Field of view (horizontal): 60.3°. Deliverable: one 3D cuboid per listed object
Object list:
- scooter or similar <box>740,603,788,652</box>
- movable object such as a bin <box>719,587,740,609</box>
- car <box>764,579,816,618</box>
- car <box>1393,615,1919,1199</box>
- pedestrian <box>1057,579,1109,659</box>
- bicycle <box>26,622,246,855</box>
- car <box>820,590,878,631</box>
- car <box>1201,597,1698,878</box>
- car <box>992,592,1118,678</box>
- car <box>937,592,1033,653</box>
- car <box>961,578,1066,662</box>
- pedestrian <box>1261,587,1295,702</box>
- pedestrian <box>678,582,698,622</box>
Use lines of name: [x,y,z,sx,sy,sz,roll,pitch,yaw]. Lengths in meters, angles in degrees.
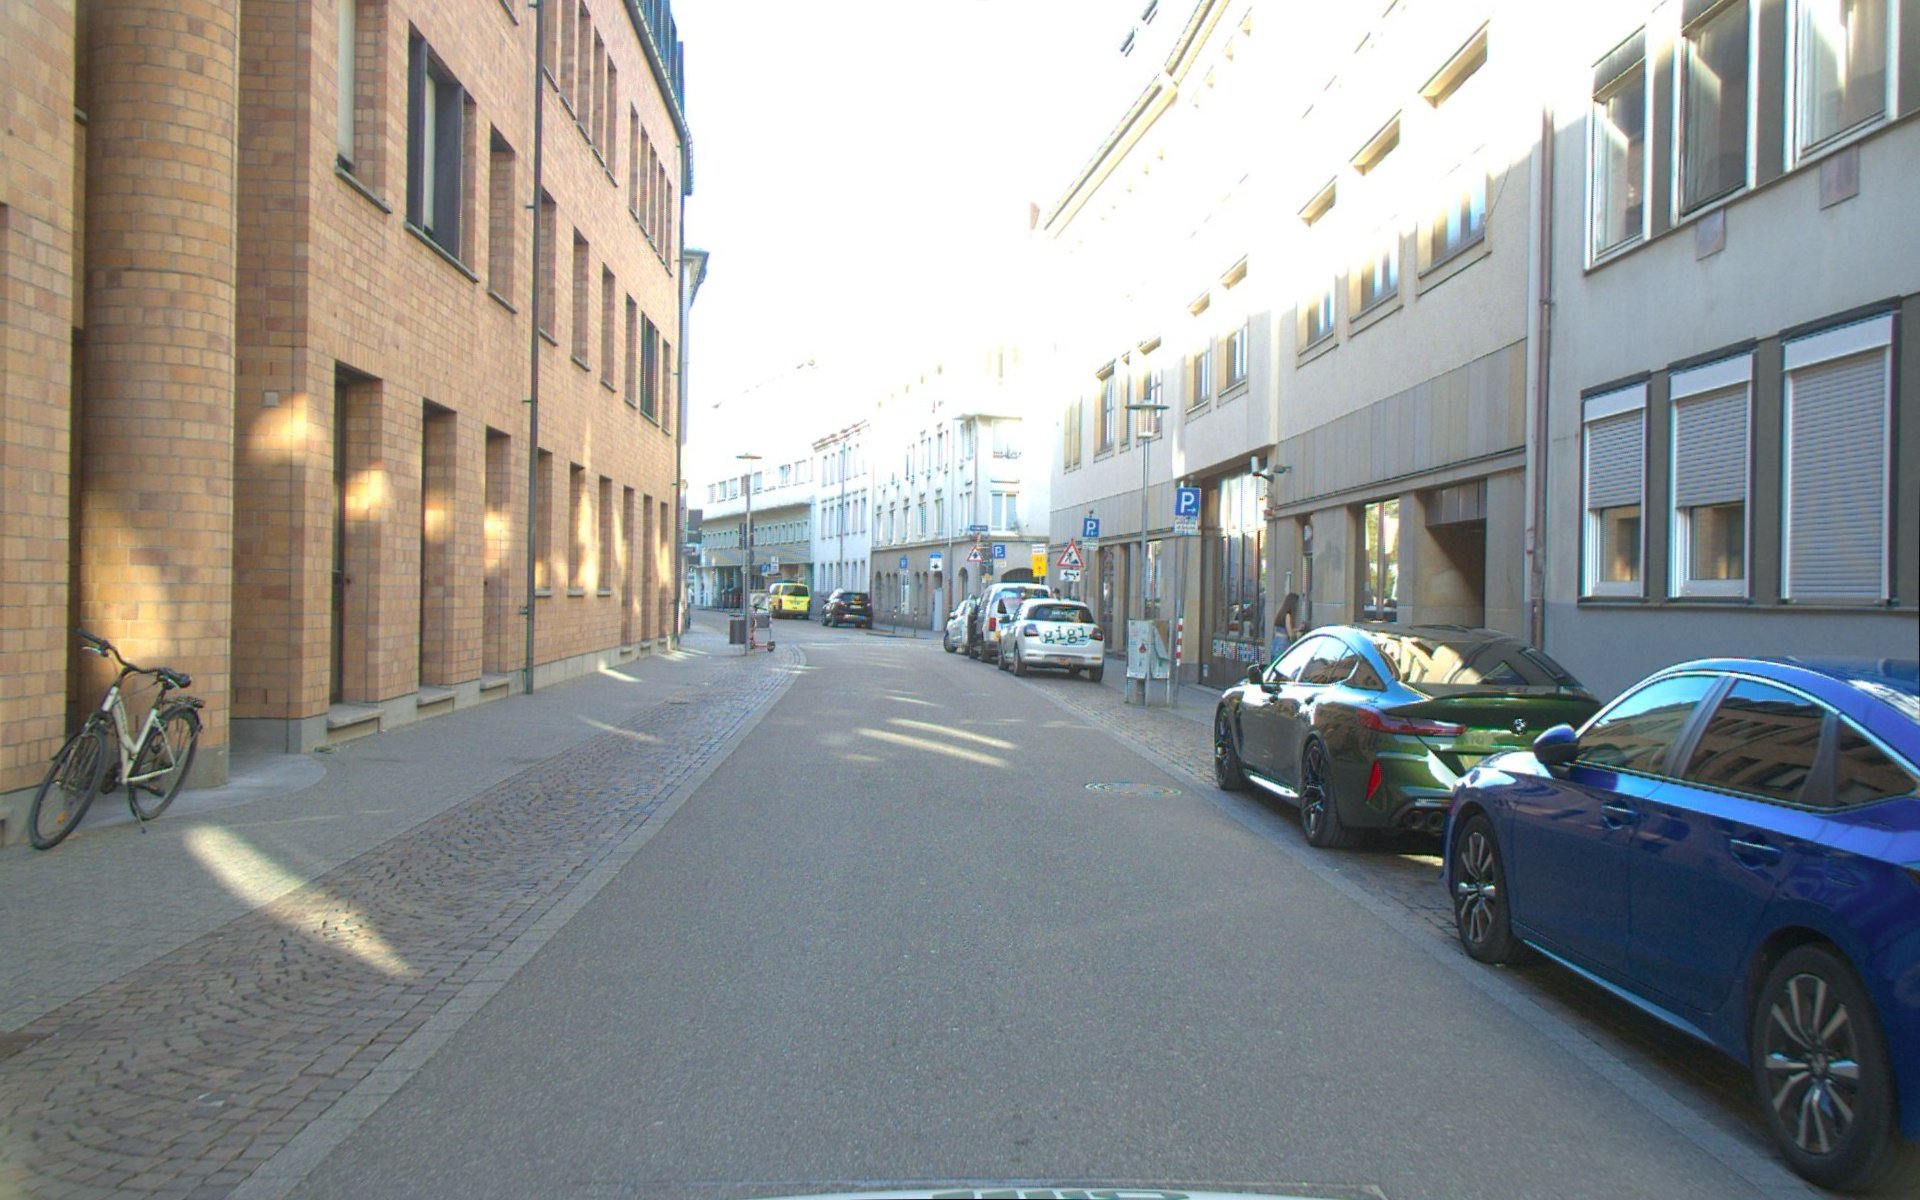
scooter or similar: [-5.100,0.706,43.019,0.683,1.238,1.357,0,0,22]
movable object such as a bin: [-16.201,-0.123,116.167,1.115,1.505,1.728,1,0,-21]
car: [-9.360,-0.115,90.690,2.021,2.049,4.154,1,0,-18]
car: [3.199,0.856,6.041,1.771,1.437,4.788,3,0,-2]
pedestrian: [2.879,0.450,38.926,1.022,1.833,1.197,1,-1,-6]
bicycle: [-4.853,0.767,9.861,0.620,1.182,1.800,3,0,-10]
car: [-5.059,0.457,74.858,1.934,1.721,4.087,2,0,-13]
car: [3.123,0.767,11.866,1.856,1.478,5.224,2,0,-2]
car: [1.831,0.656,33.136,1.805,1.503,4.163,3,0,-6]
car: [0.638,0.589,45.313,1.854,1.545,4.053,1,0,-10]
car: [1.191,0.441,39.402,1.795,1.822,5.207,2,0,-6]
pedestrian: [4.697,0.644,24.447,0.470,1.683,0.539,0,0,10]
pedestrian: [-12.175,0.099,73.975,0.754,1.754,0.683,1,0,-19]
